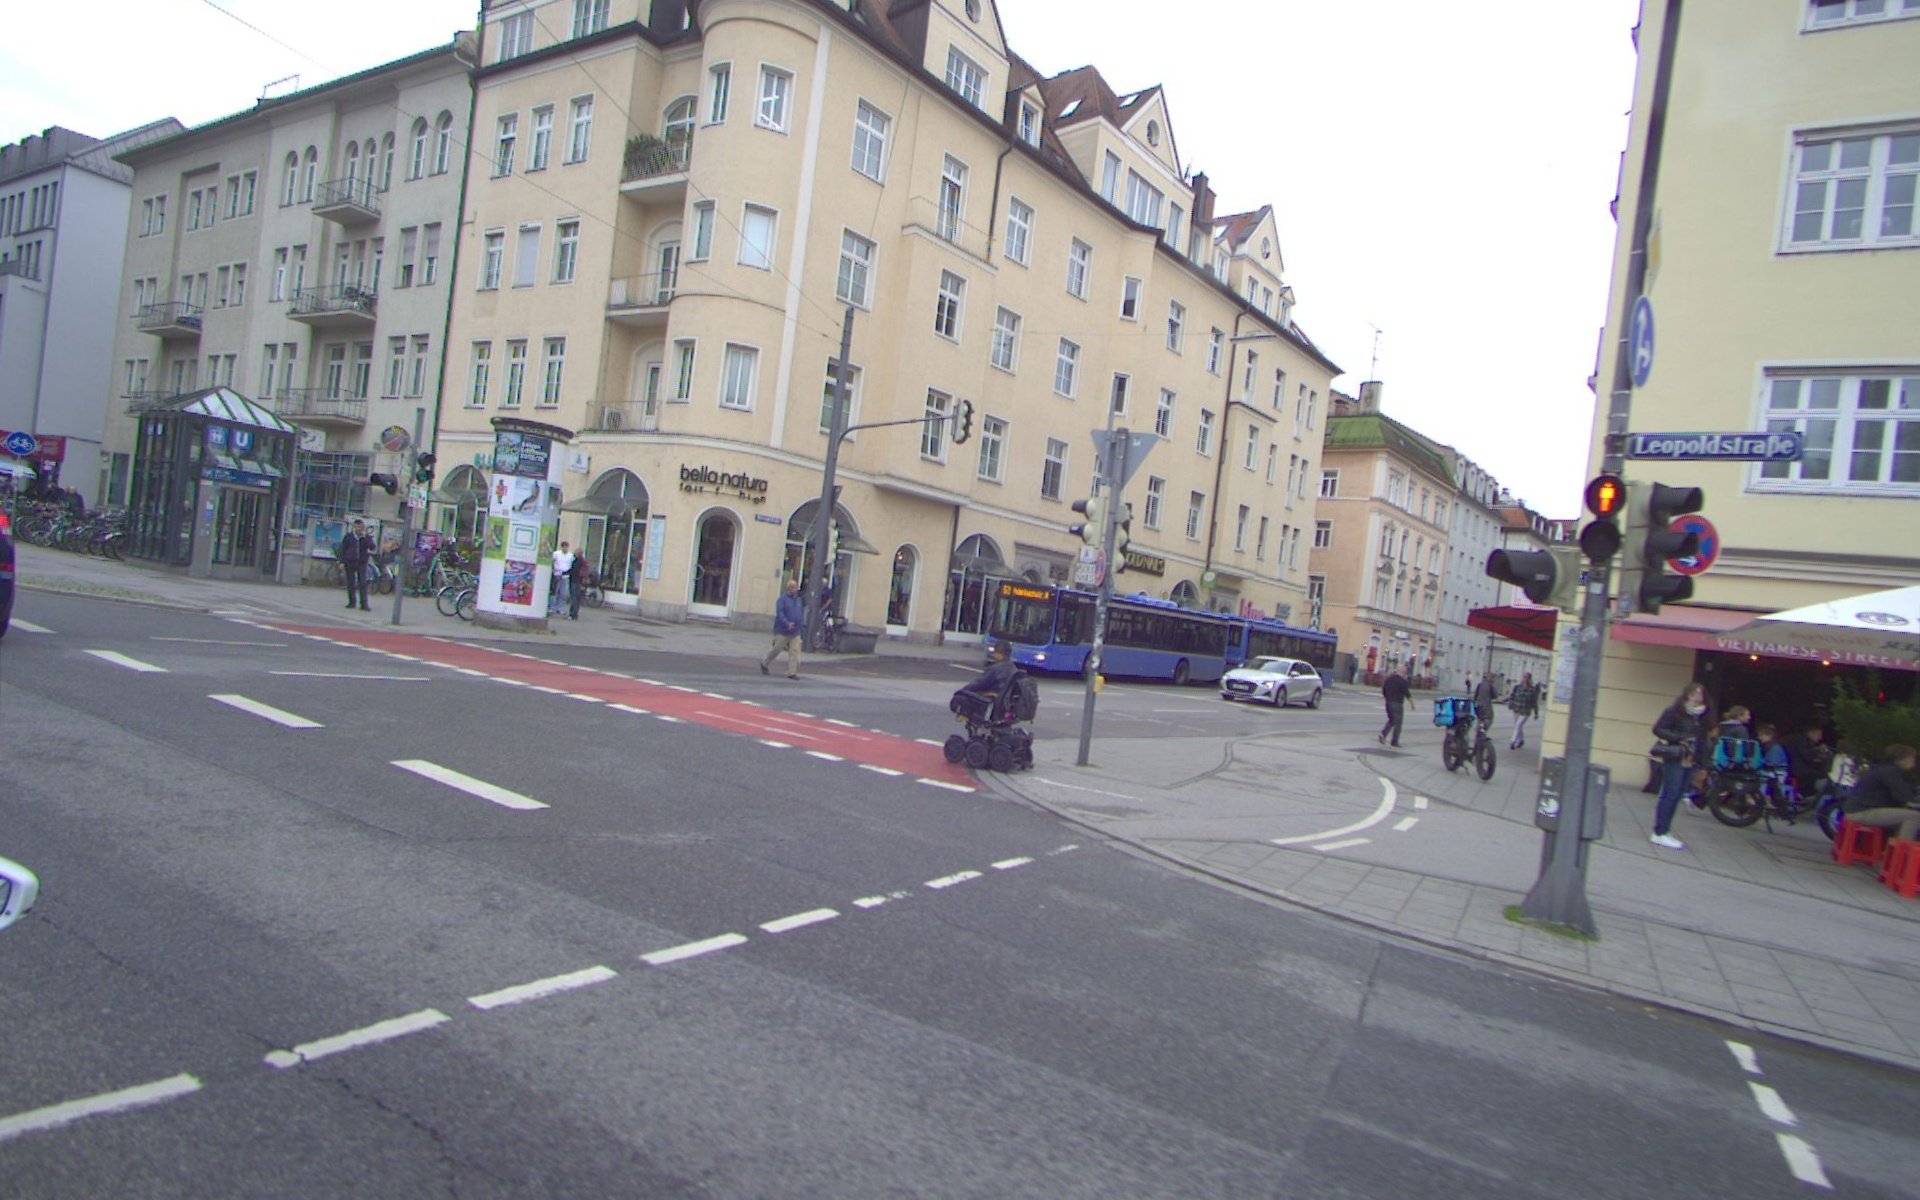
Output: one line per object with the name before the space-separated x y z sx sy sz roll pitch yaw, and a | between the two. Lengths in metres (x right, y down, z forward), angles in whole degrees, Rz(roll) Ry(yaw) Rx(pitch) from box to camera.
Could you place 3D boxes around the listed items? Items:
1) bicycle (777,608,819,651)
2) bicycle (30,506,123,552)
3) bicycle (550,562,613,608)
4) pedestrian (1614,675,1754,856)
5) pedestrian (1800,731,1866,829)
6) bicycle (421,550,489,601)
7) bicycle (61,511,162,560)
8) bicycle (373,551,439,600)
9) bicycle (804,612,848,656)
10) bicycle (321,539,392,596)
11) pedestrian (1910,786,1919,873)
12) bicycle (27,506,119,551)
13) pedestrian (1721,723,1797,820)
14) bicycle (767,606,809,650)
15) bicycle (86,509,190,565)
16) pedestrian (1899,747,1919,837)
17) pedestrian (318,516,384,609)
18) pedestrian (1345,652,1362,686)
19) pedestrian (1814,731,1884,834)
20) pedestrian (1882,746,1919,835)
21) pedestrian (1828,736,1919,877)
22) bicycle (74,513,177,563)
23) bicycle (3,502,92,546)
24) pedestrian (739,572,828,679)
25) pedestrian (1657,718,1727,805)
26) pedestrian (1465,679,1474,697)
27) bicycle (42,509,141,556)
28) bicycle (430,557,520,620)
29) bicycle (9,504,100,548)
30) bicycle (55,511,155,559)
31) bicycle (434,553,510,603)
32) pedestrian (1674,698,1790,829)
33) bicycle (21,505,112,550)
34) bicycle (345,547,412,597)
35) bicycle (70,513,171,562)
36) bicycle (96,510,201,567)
bicycle | -4.074 0.755 25.382 0.244 1.046 1.584 7 0 17
bicycle | -23.538 -1.874 26.841 0.445 0.976 1.757 7 0 30
bicycle | -11.000 -0.439 29.228 1.833 1.103 0.495 7 1 26
pedestrian | 7.651 1.718 10.670 0.753 1.716 0.761 7 1 6
pedestrian | 12.818 2.630 14.784 0.518 1.315 0.479 7 1 30
bicycle | -12.880 -0.623 25.649 1.834 1.072 0.495 7 1 27
bicycle | -21.527 -1.622 25.564 0.500 0.976 1.840 7 0 30
bicycle | -13.545 -0.606 24.593 1.835 0.987 0.495 7 1 32
bicycle | -3.368 0.862 25.415 0.350 1.046 1.584 7 0 17
bicycle | -14.159 -0.772 23.591 1.835 1.121 0.567 7 1 32
pedestrian | 11.281 2.528 11.284 0.689 1.218 0.626 7 0 32
bicycle | -23.918 -1.917 27.167 0.445 0.976 1.757 7 0 30
pedestrian | 12.022 2.568 15.154 0.691 1.308 0.515 7 1 30
bicycle | -4.327 0.719 25.443 0.244 1.046 1.584 7 0 17
bicycle | -20.091 -1.529 24.625 0.500 1.108 1.840 7 0 30
pedestrian | 13.350 2.663 13.774 0.518 1.180 0.479 7 1 30
pedestrian | -12.040 -0.735 19.926 0.825 1.712 0.815 7 1 -21
pedestrian | 24.243 4.243 62.000 0.607 2.038 0.608 7 1 39
pedestrian | 12.556 2.563 14.223 0.518 1.315 0.479 7 1 30
pedestrian | 13.562 2.716 14.264 0.518 1.180 0.479 7 1 30
pedestrian | 9.884 2.177 10.682 0.783 1.327 0.678 7 0 32
bicycle | -20.615 -1.514 24.893 0.500 0.976 1.840 7 0 30
bicycle | -25.508 -2.104 28.158 0.363 0.976 1.756 7 0 32
pedestrian | -3.207 0.470 18.288 1.048 1.777 0.934 7 1 33
pedestrian | 11.240 2.464 15.469 0.691 1.196 0.515 7 1 30
pedestrian | 38.881 6.707 76.714 0.404 1.375 0.448 7 1 39
bicycle | -22.655 -1.741 26.269 0.500 0.976 1.840 7 0 30
bicycle | -10.314 -0.224 21.439 0.516 1.175 1.568 10 2 34
bicycle | -24.954 -2.032 27.767 0.445 0.976 1.756 7 0 32
bicycle | -21.956 -1.654 25.865 0.500 0.976 1.840 7 0 30
bicycle | -12.752 -0.577 26.289 1.831 1.072 0.496 7 1 17
pedestrian | 10.369 2.173 13.548 0.874 1.560 0.732 7 1 17
bicycle | -24.443 -1.964 27.555 0.445 0.976 1.757 7 0 30
bicycle | -13.891 -0.683 24.010 1.835 0.987 0.495 7 1 32
bicycle | -21.021 -1.561 25.228 0.500 0.976 1.840 7 0 30
bicycle | -19.610 -1.469 24.350 0.500 1.108 1.840 7 0 30
